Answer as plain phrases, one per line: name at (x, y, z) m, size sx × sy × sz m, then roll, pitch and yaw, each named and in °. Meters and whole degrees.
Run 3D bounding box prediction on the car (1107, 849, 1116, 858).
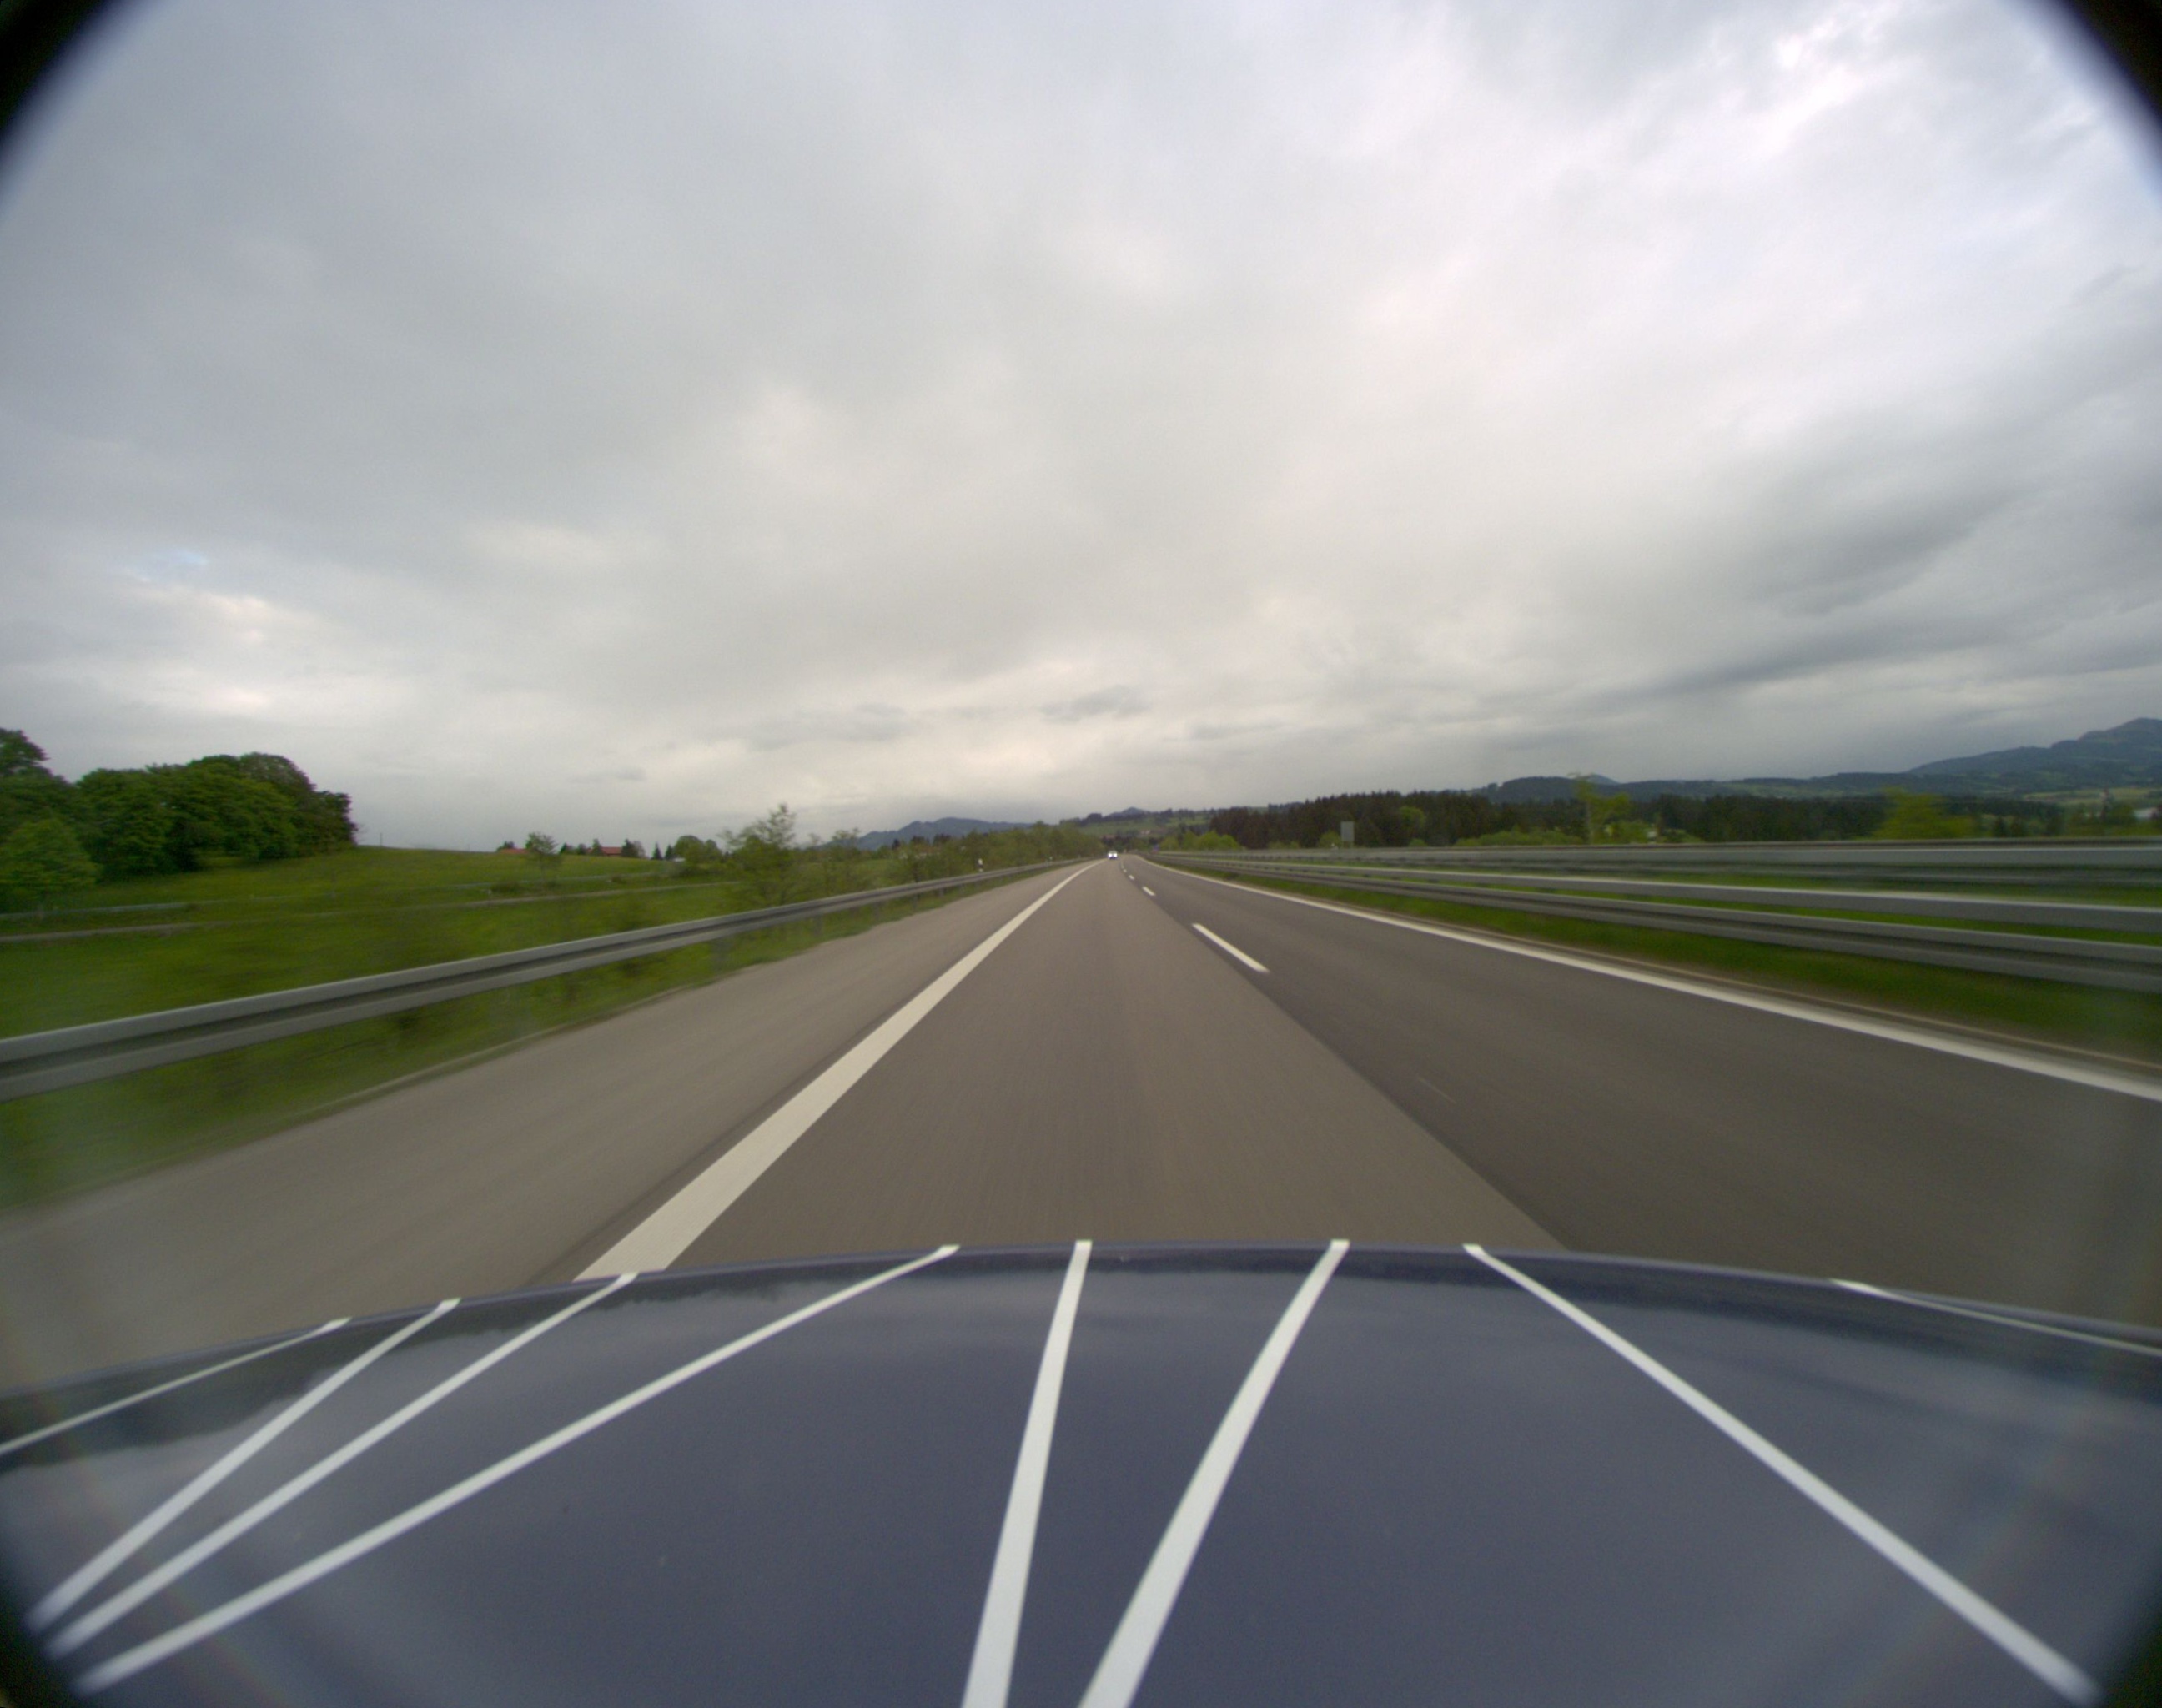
car at (6.755, -0.205, 168.536) m, size 2.021 × 1.899 × 4.222 m, roll -2°, pitch 0°, yaw 3°
